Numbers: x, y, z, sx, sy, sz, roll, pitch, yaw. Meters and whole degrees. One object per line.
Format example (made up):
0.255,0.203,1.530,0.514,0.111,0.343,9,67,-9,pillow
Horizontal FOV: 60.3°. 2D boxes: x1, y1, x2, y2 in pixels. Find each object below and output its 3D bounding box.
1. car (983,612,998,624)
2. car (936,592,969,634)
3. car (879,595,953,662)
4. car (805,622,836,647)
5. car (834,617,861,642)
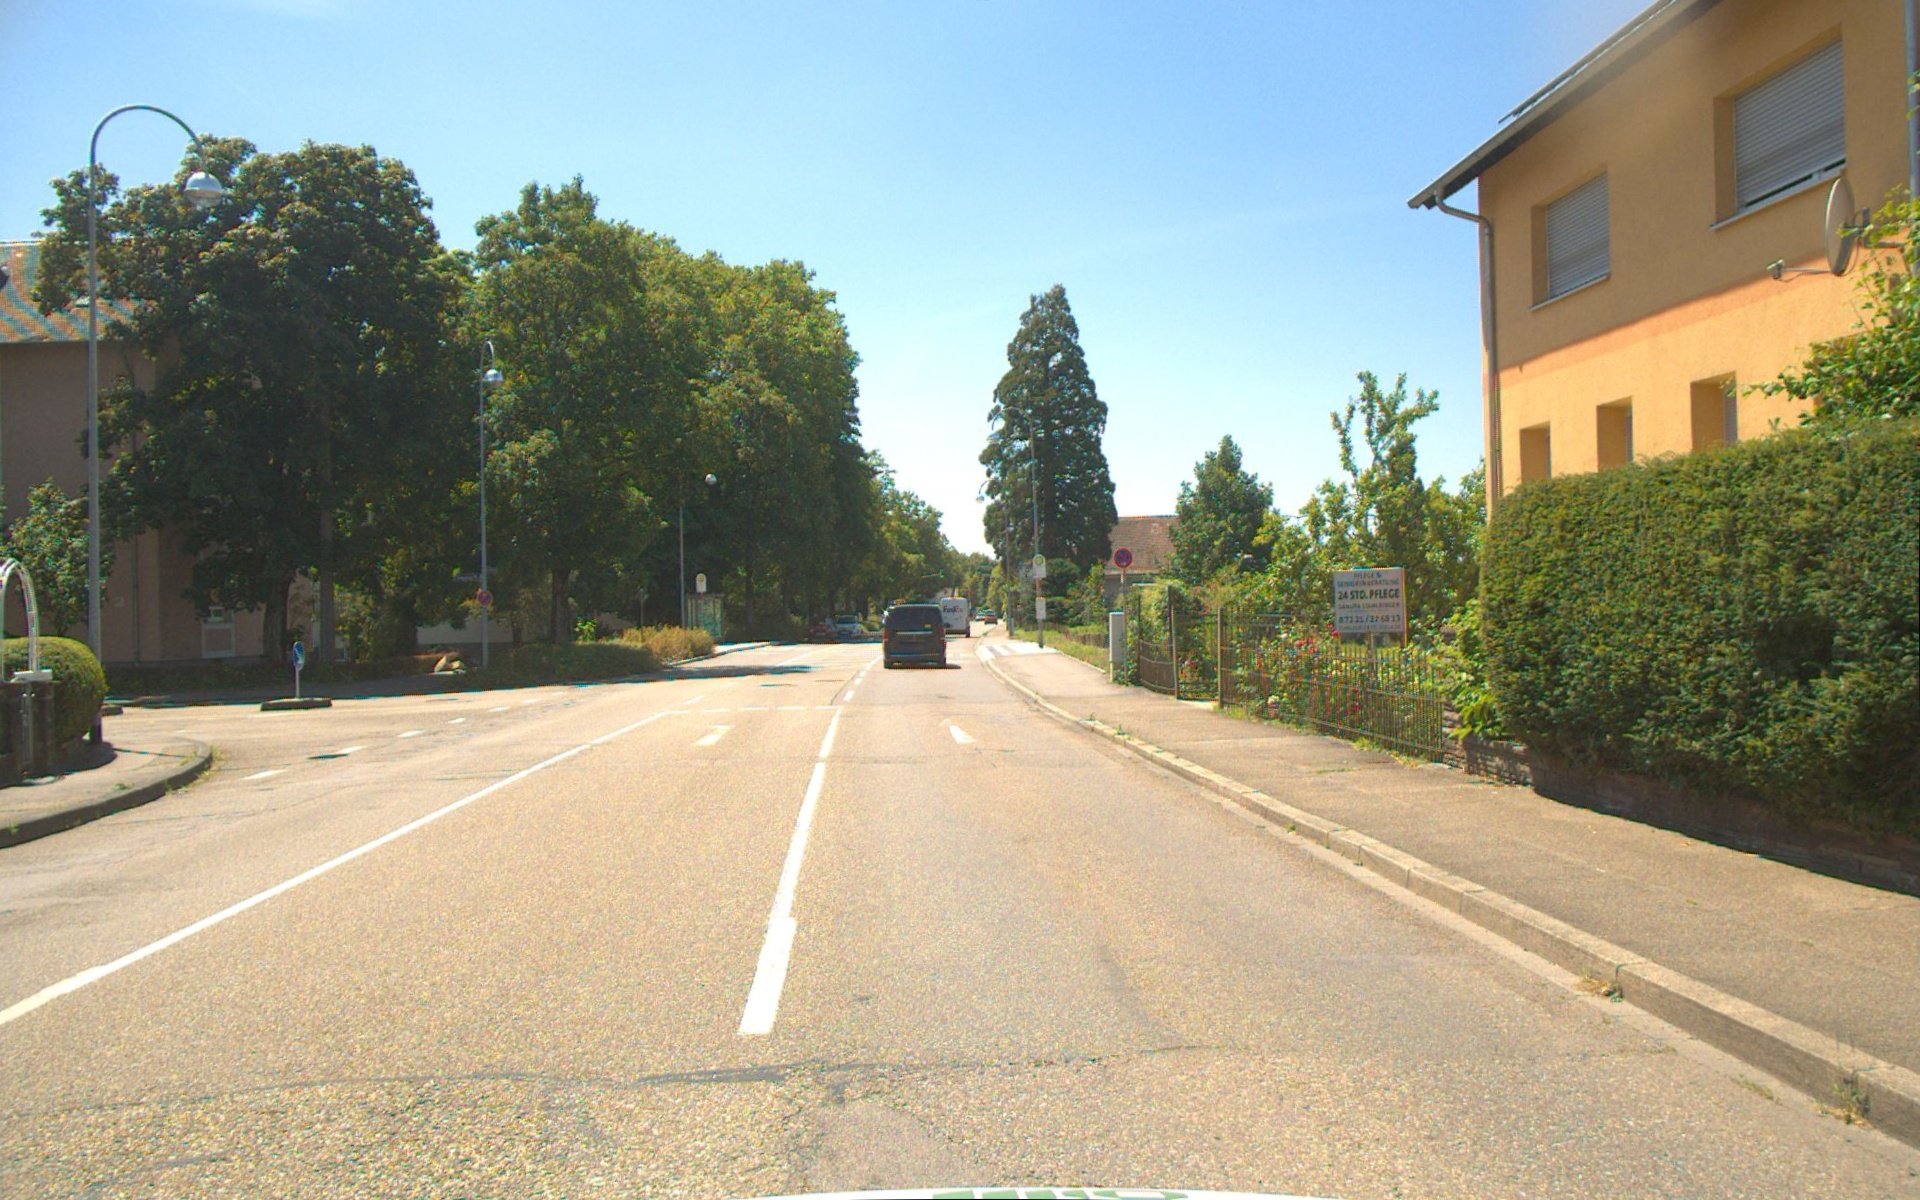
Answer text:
4.159,2.463,227.382,1.820,1.672,3.999,0,0,-2,car
-0.527,0.829,110.637,2.077,2.724,5.660,0,0,-2,car
-1.253,0.802,49.196,1.952,1.926,4.001,0,0,2,car
-8.224,2.037,97.695,1.519,1.476,3.690,0,-1,-1,car
-7.169,1.886,105.905,1.657,1.485,3.637,0,0,-3,car
